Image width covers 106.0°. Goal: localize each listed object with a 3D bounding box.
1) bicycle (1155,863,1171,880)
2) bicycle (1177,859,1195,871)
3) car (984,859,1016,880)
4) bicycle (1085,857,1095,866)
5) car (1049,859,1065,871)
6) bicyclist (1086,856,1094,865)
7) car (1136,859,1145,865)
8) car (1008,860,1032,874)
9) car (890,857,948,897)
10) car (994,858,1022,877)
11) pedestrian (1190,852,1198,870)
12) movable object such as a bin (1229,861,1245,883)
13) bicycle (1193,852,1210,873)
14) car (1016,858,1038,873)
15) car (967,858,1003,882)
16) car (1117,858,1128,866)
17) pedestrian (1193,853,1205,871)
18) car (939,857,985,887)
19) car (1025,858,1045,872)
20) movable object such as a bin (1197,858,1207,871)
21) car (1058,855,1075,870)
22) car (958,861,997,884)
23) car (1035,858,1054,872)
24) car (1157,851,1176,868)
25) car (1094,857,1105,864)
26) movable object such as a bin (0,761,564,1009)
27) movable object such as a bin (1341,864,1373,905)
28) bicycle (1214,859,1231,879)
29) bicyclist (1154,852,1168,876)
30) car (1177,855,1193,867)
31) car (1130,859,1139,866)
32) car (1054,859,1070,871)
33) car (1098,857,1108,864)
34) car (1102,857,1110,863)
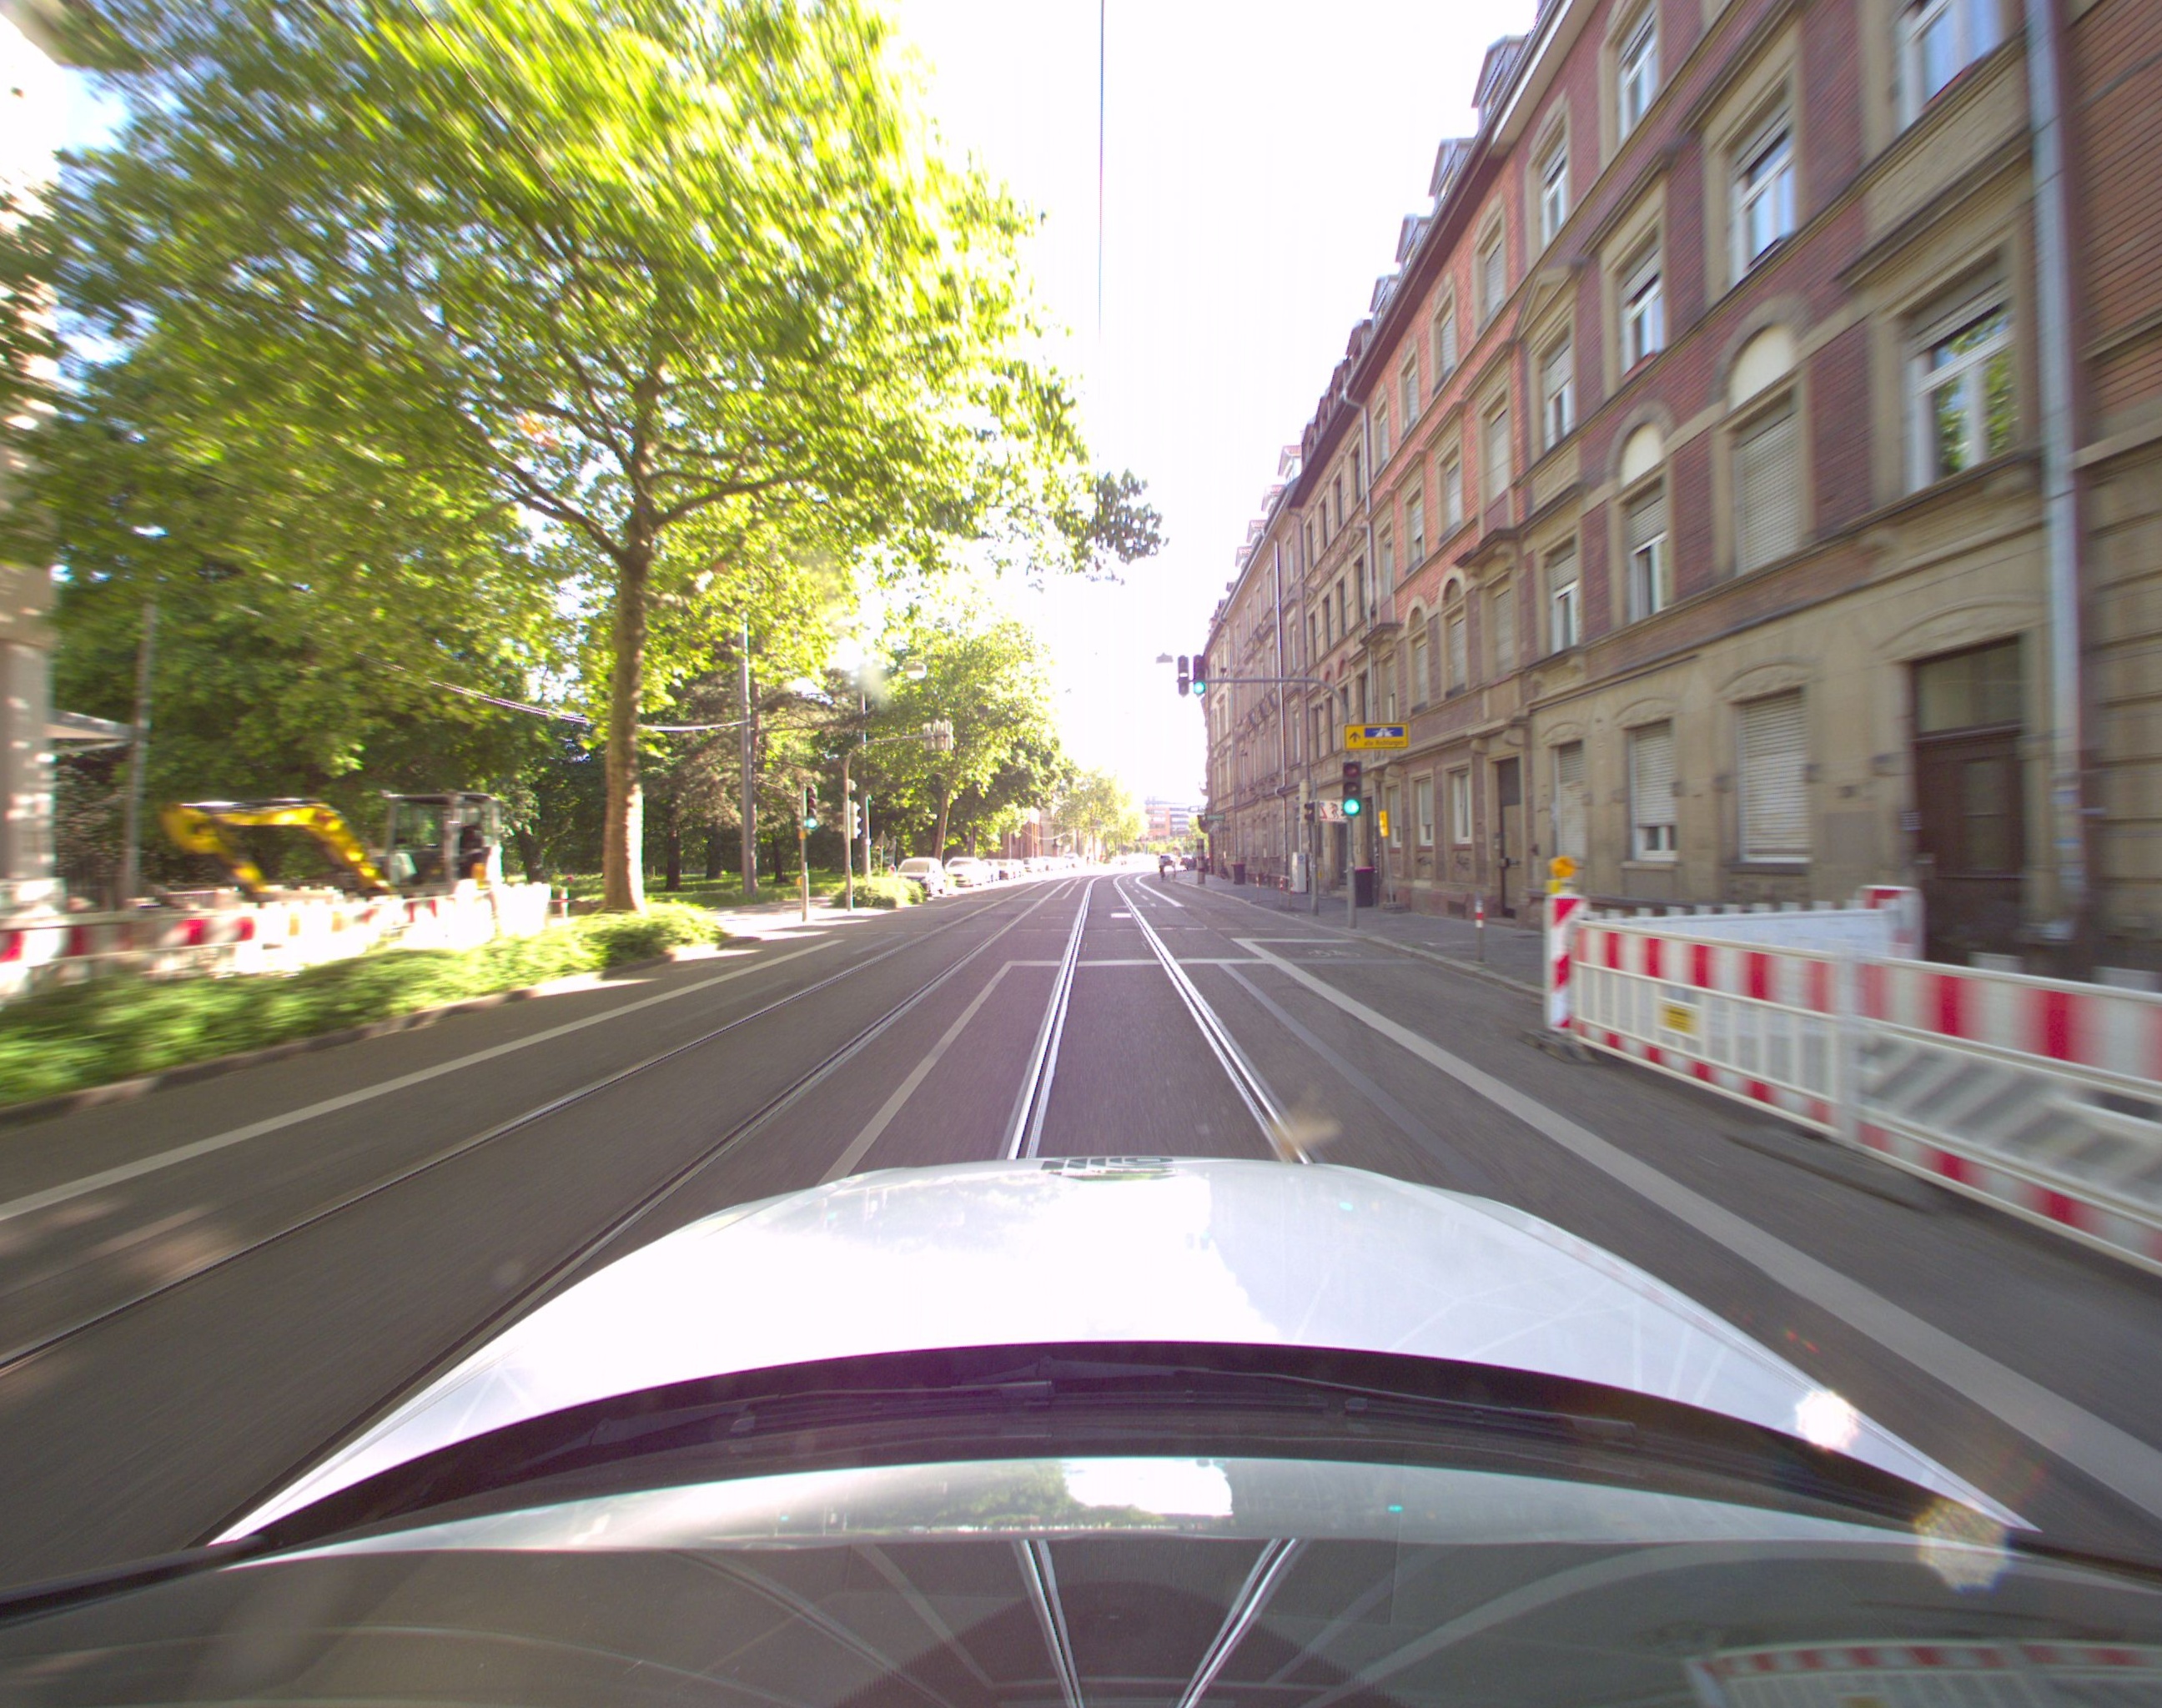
[{"bbox_3d":[5.360,1.154,53.502,0.853,1.088,2.488,0,-1,1],"label":"bicycle"},{"bbox_3d":[9.949,1.041,77.216,0.633,1.118,2.312,-1,-1,38],"label":"bicycle"},{"bbox_3d":[-6.092,1.158,61.513,1.741,1.509,4.047,0,-1,4],"label":"car"},{"bbox_3d":[1.527,1.231,135.328,1.227,1.572,2.904,0,-1,8],"label":"bicycle"},{"bbox_3d":[-3.093,1.387,105.017,1.741,1.587,4.047,0,-1,4],"label":"car"},{"bbox_3d":[1.481,1.102,135.302,1.071,1.427,1.149,0,-1,9],"label":"bicyclist"},{"bbox_3d":[13.400,1.844,183.278,1.740,1.422,4.050,0,-1,6],"label":"car"},{"bbox_3d":[-5.888,1.233,79.030,1.741,1.364,4.047,0,-1,4],"label":"car"},{"bbox_3d":[-6.959,0.965,35.373,1.538,1.658,3.766,0,-1,4],"label":"car"},{"bbox_3d":[-5.983,1.109,67.076,1.741,1.506,4.047,0,-1,4],"label":"car"},{"bbox_3d":[11.848,0.764,85.326,0.779,1.889,0.973,0,-1,9],"label":"pedestrian"},{"bbox_3d":[7.768,0.887,40.558,0.671,1.036,0.814,-2,0,1],"label":"movable object such as a bin"},{"bbox_3d":[9.130,0.640,61.590,0.964,1.515,3.257,0,-1,13],"label":"bicycle"},{"bbox_3d":[-5.558,1.197,84.461,1.741,1.495,4.047,0,-1,4],"label":"car"},{"bbox_3d":[-6.584,1.088,56.005,1.741,1.587,4.047,0,-1,4],"label":"car"},{"bbox_3d":[7.339,1.418,143.102,1.740,1.422,4.050,0,-1,6],"label":"car"},{"bbox_3d":[11.934,0.796,82.478,1.051,1.760,1.332,0,-1,1],"label":"pedestrian"},{"bbox_3d":[-6.664,1.013,45.915,1.741,1.608,4.047,0,-1,4],"label":"car"},{"bbox_3d":[-5.035,1.209,89.522,1.741,1.587,4.047,0,-1,4],"label":"car"},{"bbox_3d":[9.954,0.881,66.798,0.693,1.092,0.741,0,-1,-1],"label":"movable object such as a bin"},{"bbox_3d":[-2.002,1.244,115.237,2.049,2.052,4.047,0,-1,4],"label":"car"},{"bbox_3d":[-6.519,1.142,51.650,1.741,1.422,4.047,0,-1,4],"label":"car"},{"bbox_3d":[-4.227,1.271,94.954,1.741,1.587,4.047,0,-1,4],"label":"car"},{"bbox_3d":[10.513,0.695,100.384,1.986,2.014,4.001,0,-1,2],"label":"car"},{"bbox_3d":[3.500,1.235,152.829,1.740,1.422,4.050,0,-1,6],"label":"car"},{"bbox_3d":[-10.569,0.341,11.727,2.488,2.645,5.985,0,0,-1],"label":"movable object such as a bin"},{"bbox_3d":[7.579,0.830,22.373,0.618,1.110,0.780,0,-1,-2],"label":"movable object such as a bin"},{"bbox_3d":[8.151,0.835,46.888,0.637,1.118,2.298,0,-1,2],"label":"bicycle"},{"bbox_3d":[5.278,0.664,53.466,0.835,1.558,0.965,0,-1,1],"label":"bicyclist"},{"bbox_3d":[15.450,1.030,121.296,2.019,1.849,4.300,0,-1,2],"label":"car"},{"bbox_3d":[11.352,1.768,173.550,1.740,1.422,4.050,0,-1,6],"label":"car"},{"bbox_3d":[-2.512,1.446,110.203,1.741,1.587,4.047,0,-1,4],"label":"car"},{"bbox_3d":[4.436,1.350,162.854,1.740,1.422,4.050,0,-1,6],"label":"car"},{"bbox_3d":[6.160,1.493,200.265,1.740,1.625,4.050,0,-1,6],"label":"car"}]
